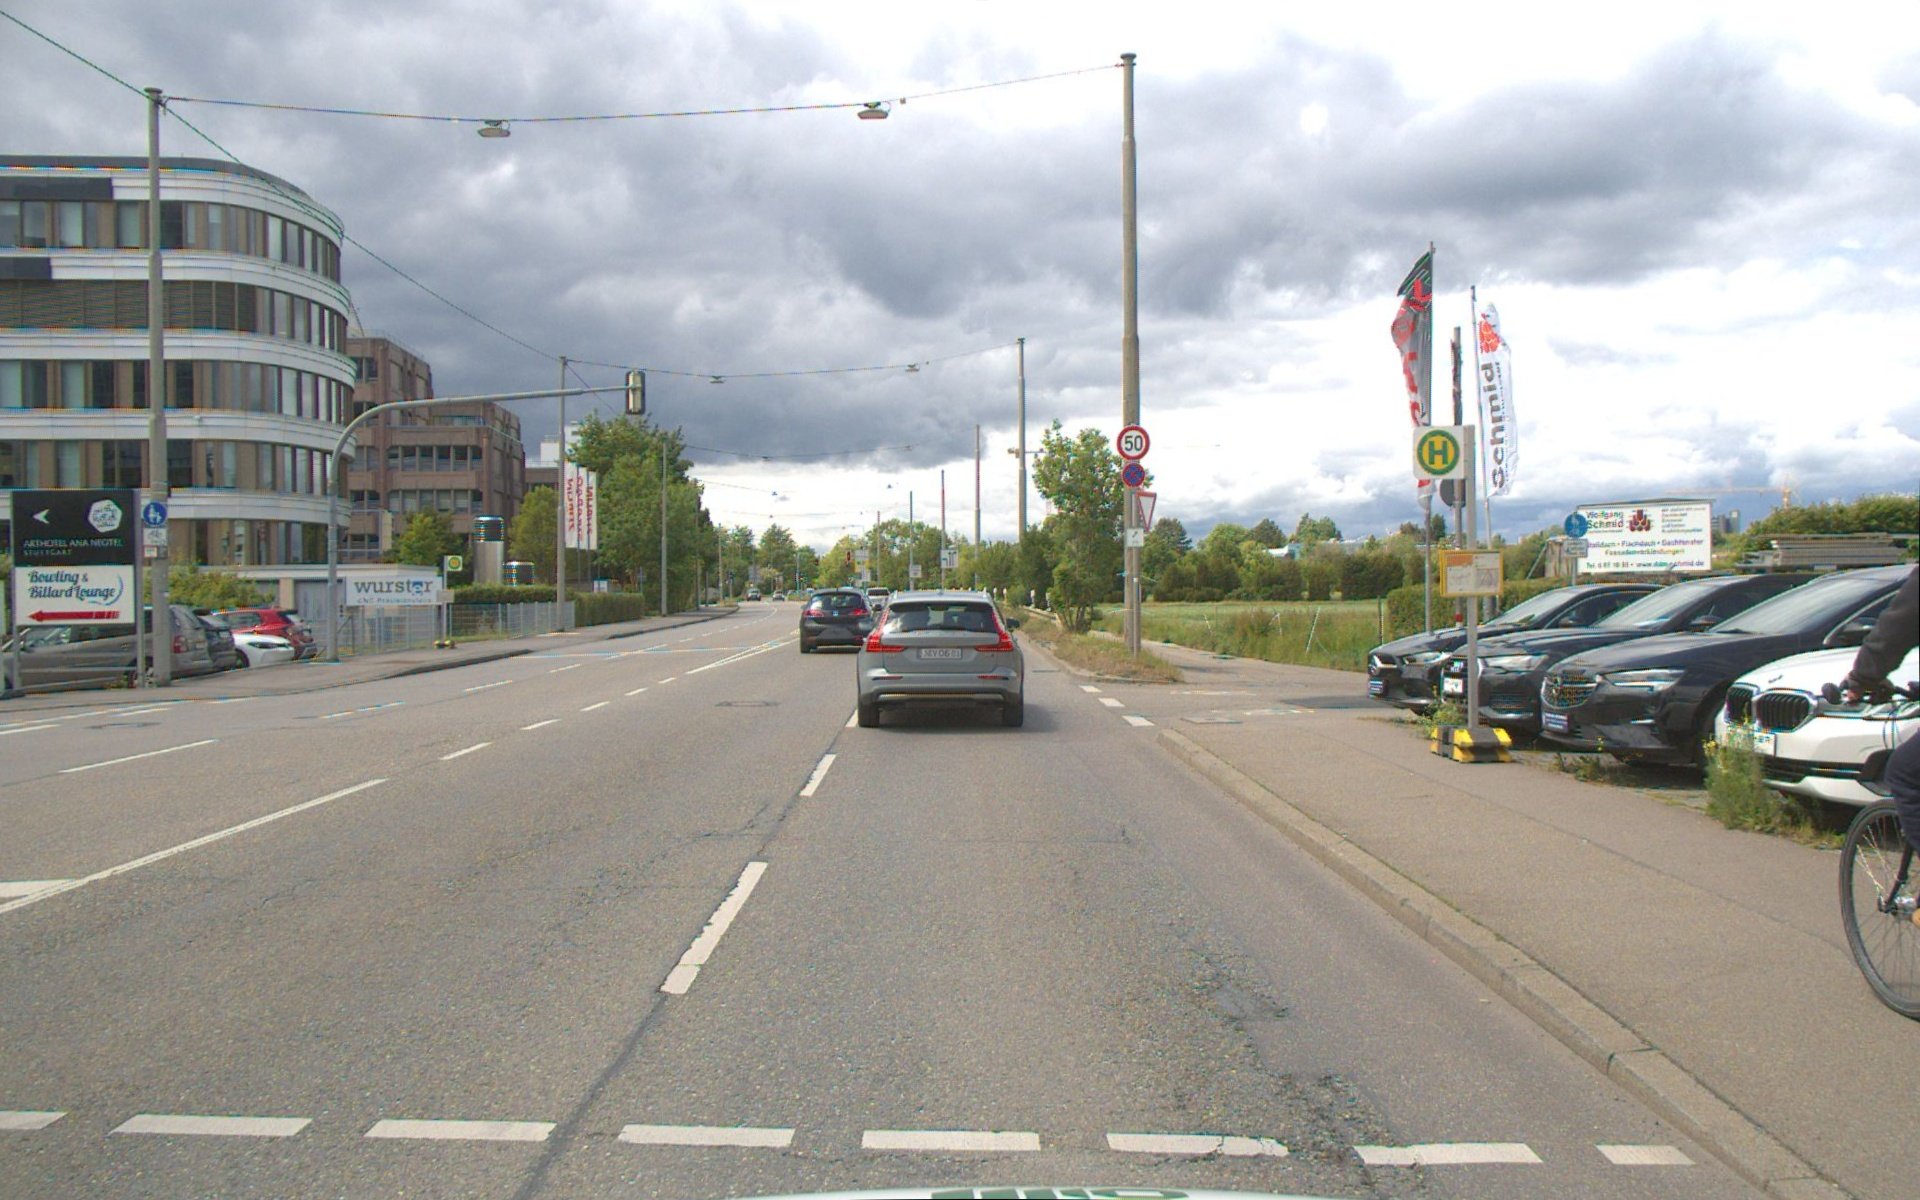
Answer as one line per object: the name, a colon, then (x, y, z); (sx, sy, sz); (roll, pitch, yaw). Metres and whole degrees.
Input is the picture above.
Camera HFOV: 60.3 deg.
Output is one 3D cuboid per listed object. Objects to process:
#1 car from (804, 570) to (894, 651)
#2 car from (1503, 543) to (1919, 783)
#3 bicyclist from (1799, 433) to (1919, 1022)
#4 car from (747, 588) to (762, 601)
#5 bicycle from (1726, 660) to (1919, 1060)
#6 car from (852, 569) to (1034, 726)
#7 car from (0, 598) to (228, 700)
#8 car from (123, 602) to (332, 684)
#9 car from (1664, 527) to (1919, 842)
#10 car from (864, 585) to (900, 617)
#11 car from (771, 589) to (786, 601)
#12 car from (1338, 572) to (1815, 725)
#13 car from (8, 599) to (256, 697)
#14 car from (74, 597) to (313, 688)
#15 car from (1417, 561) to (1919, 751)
car: (-2.556, 0.242, 38.413); (1.954, 1.747, 3.997); (1, -1, -3)
car: (6.472, 0.424, 11.722); (4.581, 1.519, 2.015); (1, 0, 0)
bicyclist: (3.054, 0.358, 4.839); (0.625, 1.704, 0.890); (-4, 0, -1)
car: (-28.540, -0.785, 229.717); (1.844, 1.747, 3.997); (1, -1, -3)
bicycle: (3.090, 0.785, 4.907); (0.625, 1.081, 1.977); (-4, 0, -1)
car: (-0.178, 0.510, 19.128); (1.857, 1.581, 4.000); (1, -1, 0)
car: (-16.096, 0.918, 30.800); (4.019, 1.421, 1.904); (-7, 2, -9)
car: (-16.929, 0.979, 38.387); (3.910, 1.393, 1.847); (-7, 0, -4)
car: (6.613, 0.447, 8.985); (4.702, 1.506, 2.032); (1, 0, 0)
car: (-4.407, 0.066, 94.006); (1.953, 1.724, 3.998); (1, -1, -2)
car: (-25.156, -0.647, 229.122); (1.844, 1.547, 3.997); (1, -1, -3)
car: (6.321, 0.502, 17.286); (4.235, 1.423, 2.002); (1, -1, -3)
car: (-16.570, 0.938, 33.267); (3.910, 1.449, 1.854); (-7, 0, -4)
car: (-16.463, 0.896, 35.721); (4.145, 1.410, 1.981); (-7, 0, -7)
car: (6.634, 0.464, 14.357); (4.753, 1.455, 2.038); (1, 0, -1)
